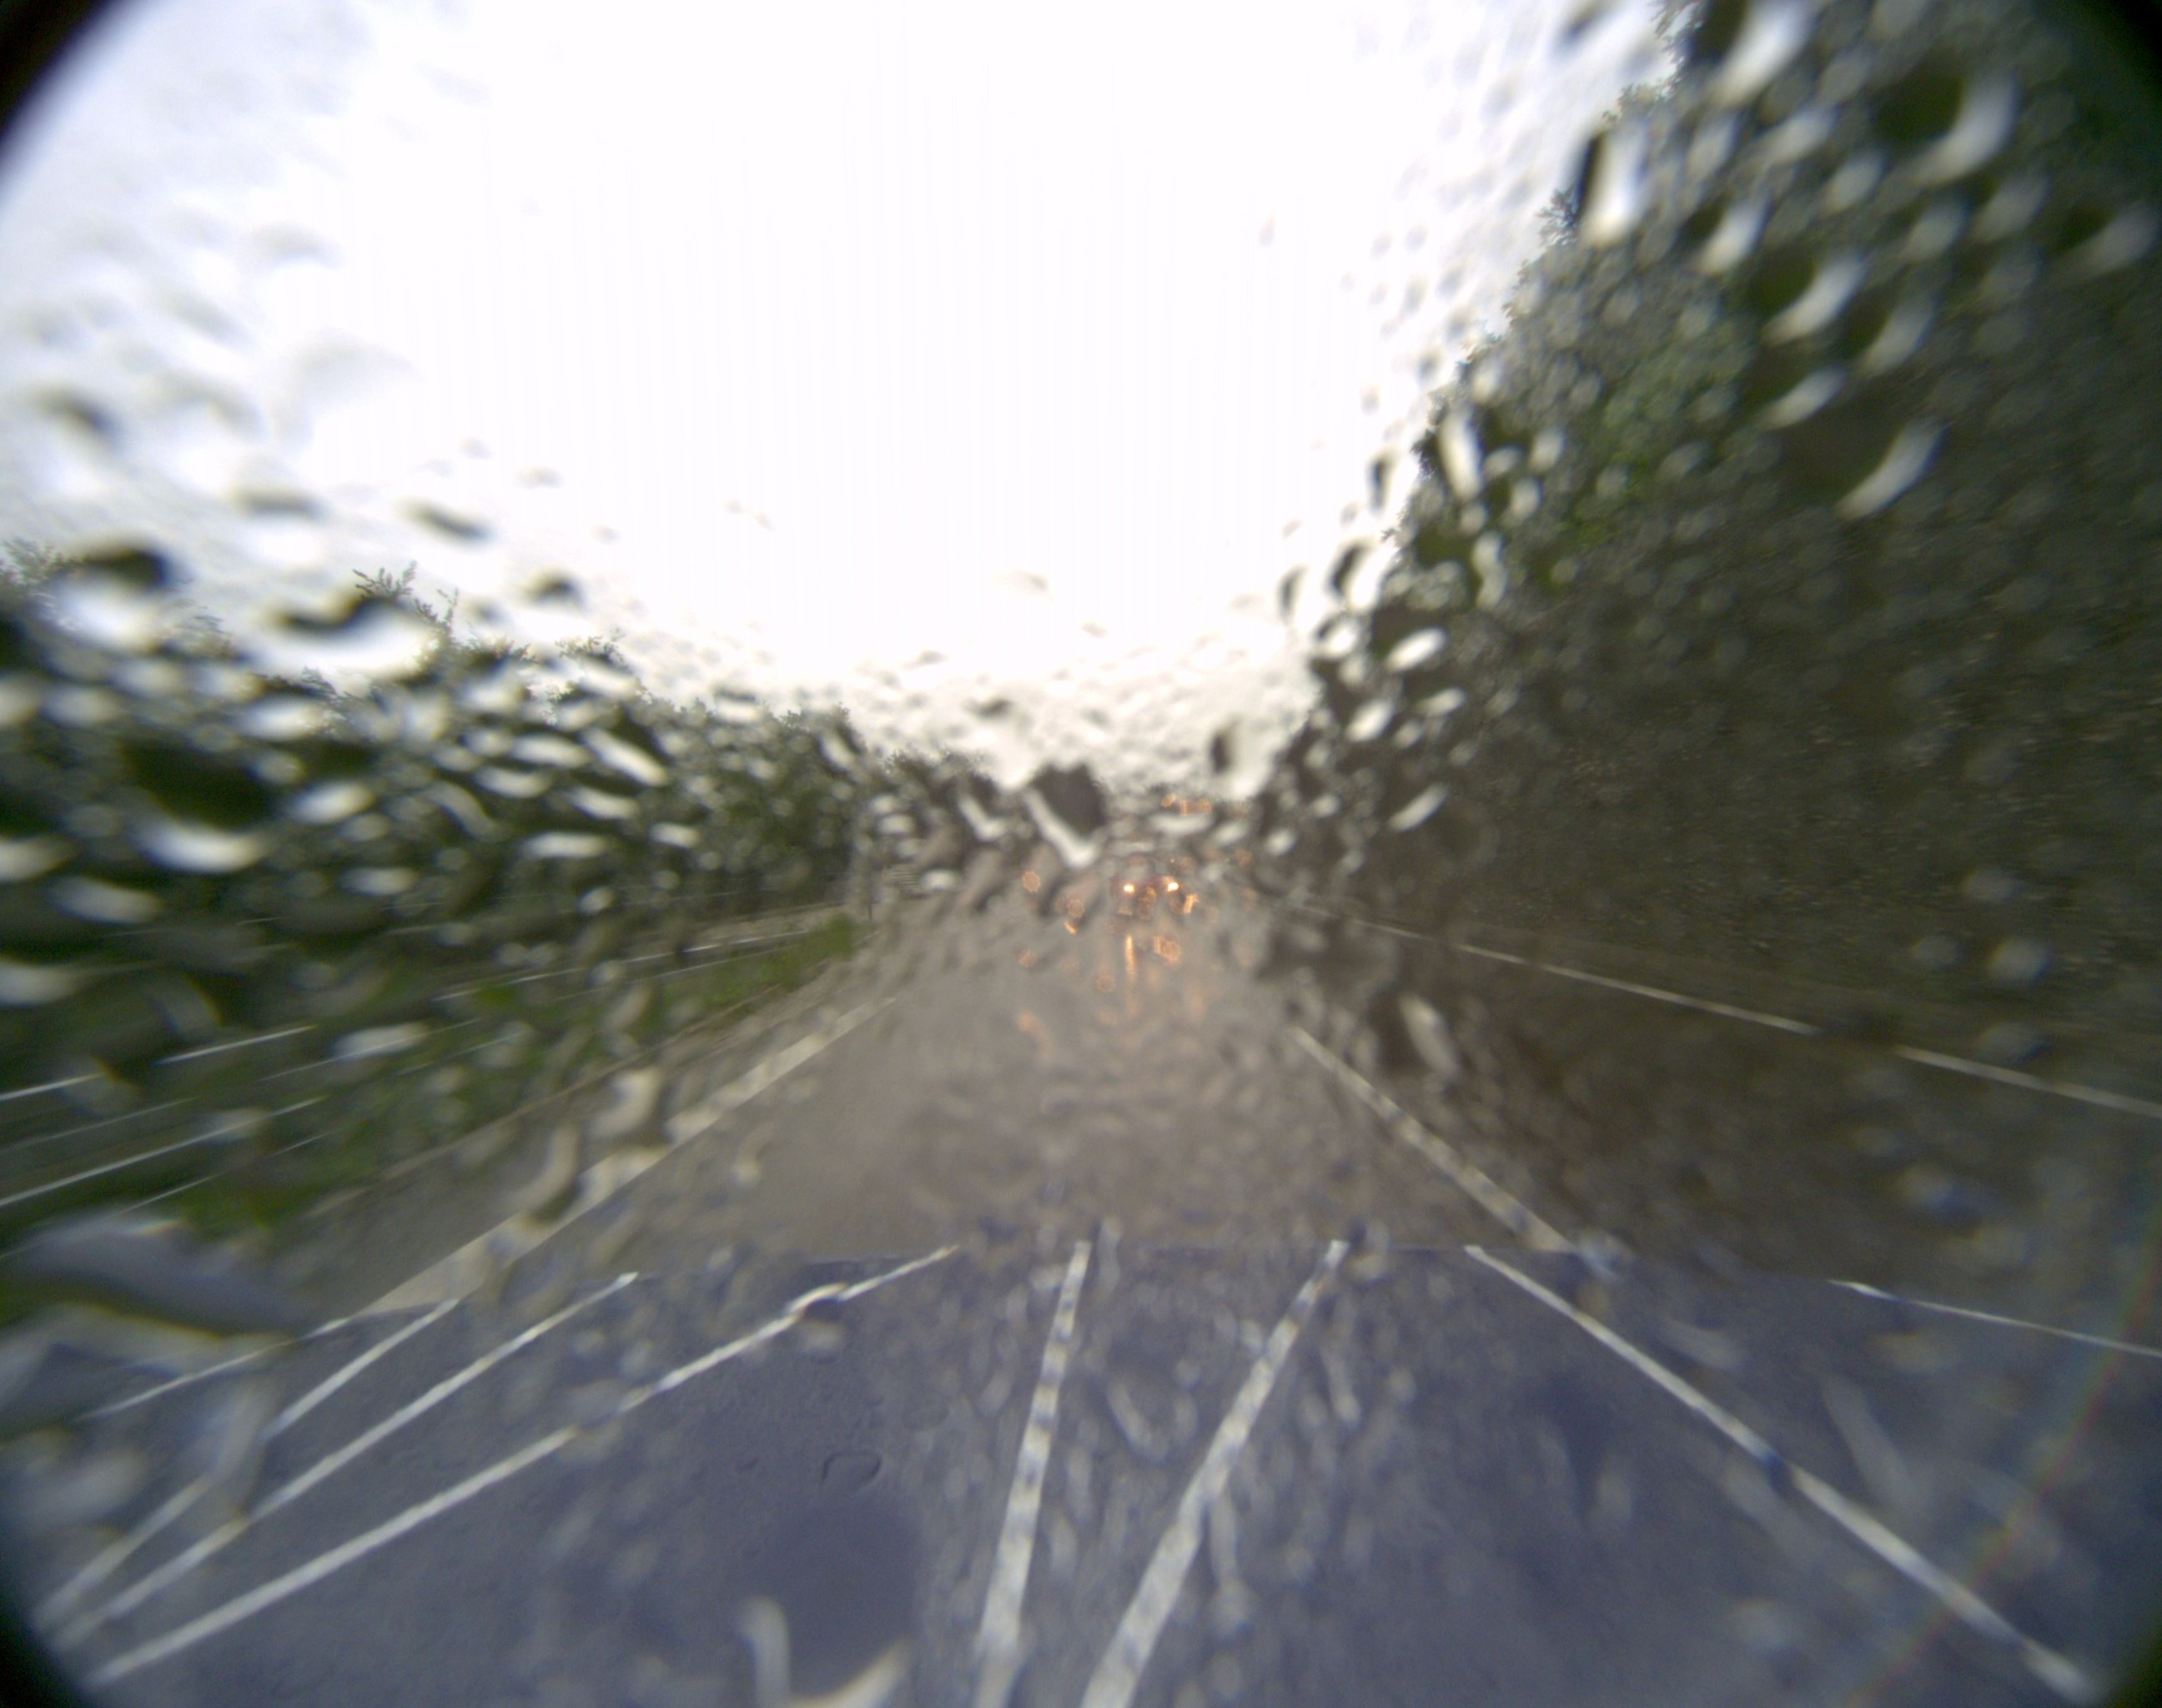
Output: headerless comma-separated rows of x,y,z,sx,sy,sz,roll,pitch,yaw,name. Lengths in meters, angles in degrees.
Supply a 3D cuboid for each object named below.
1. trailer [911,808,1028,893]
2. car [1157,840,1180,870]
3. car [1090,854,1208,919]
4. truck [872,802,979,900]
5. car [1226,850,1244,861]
-6.132,-0.247,45.535,2.898,4.220,14.704,-1,1,7,trailer
9.161,0.058,79.272,1.739,3.008,4.004,-1,1,16,car
1.722,0.847,21.653,2.361,1.549,5.497,-1,-1,-5,car
-7.288,-0.168,36.731,2.902,4.220,6.884,-1,1,7,truck
22.027,0.175,108.346,1.739,1.393,4.006,-3,0,22,car
